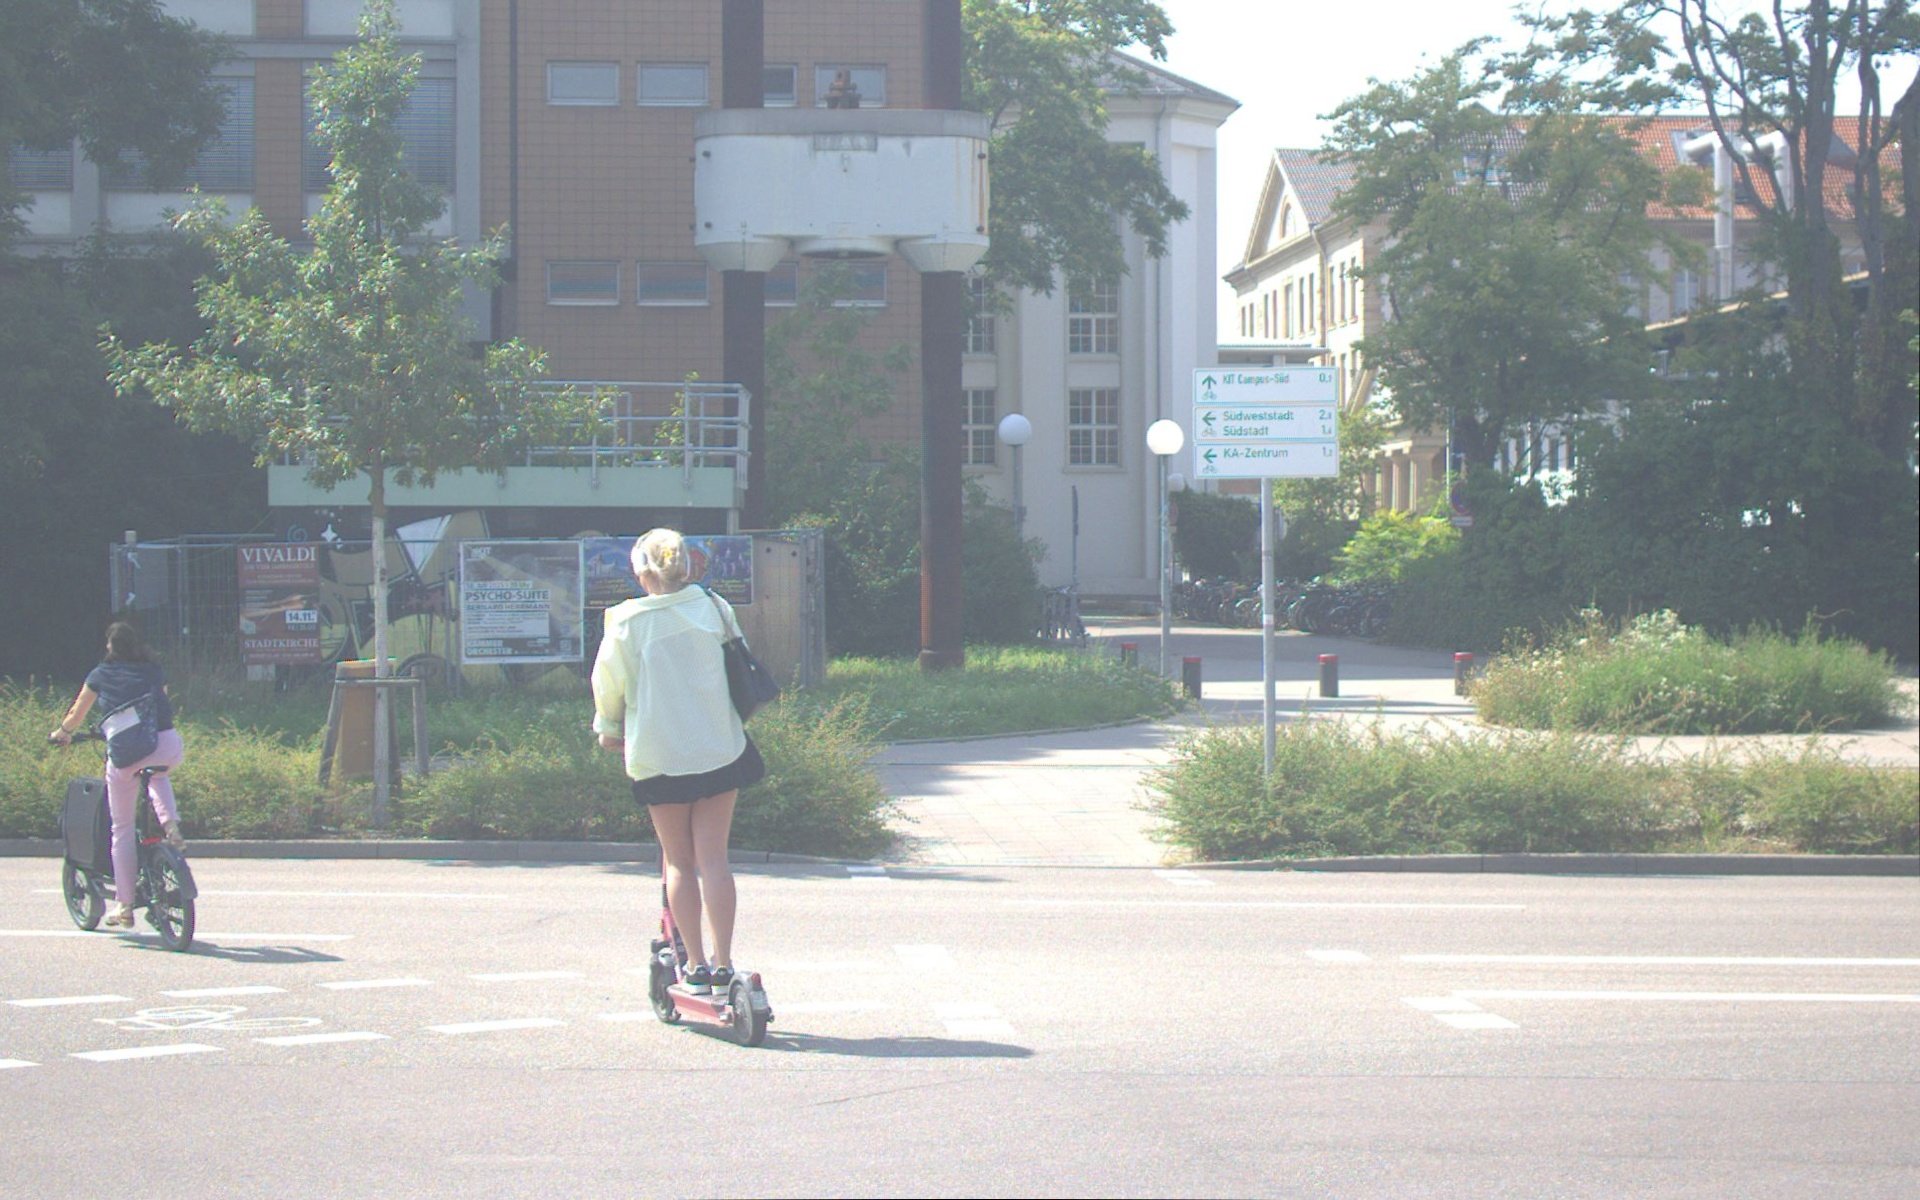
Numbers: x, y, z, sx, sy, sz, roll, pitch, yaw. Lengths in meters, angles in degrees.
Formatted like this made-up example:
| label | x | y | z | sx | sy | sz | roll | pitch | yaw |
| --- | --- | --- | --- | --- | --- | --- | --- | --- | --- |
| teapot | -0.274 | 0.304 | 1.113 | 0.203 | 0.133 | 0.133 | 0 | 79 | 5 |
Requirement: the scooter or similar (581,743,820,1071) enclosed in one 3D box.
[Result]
| label | x | y | z | sx | sy | sz | roll | pitch | yaw |
| --- | --- | --- | --- | --- | --- | --- | --- | --- | --- |
| scooter or similar | -0.996 | 1.092 | 12.772 | 0.556 | 1.056 | 2.004 | 0 | -1 | -14 |

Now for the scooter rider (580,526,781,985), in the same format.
| label | x | y | z | sx | sy | sz | roll | pitch | yaw |
| --- | --- | --- | --- | --- | --- | --- | --- | --- | --- |
| scooter rider | -1.065 | 0.573 | 13.018 | 0.670 | 1.694 | 0.539 | 0 | -1 | -14 |

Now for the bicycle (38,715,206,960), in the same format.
| label | x | y | z | sx | sy | sz | roll | pitch | yaw |
| --- | --- | --- | --- | --- | --- | --- | --- | --- | --- |
| bicycle | -4.218 | 1.153 | 17.218 | 0.556 | 1.056 | 2.004 | 0 | 1 | -21 |

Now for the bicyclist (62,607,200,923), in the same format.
| label | x | y | z | sx | sy | sz | roll | pitch | yaw |
| --- | --- | --- | --- | --- | --- | --- | --- | --- | --- |
| bicyclist | -4.059 | 0.785 | 16.816 | 0.548 | 1.491 | 0.804 | 0 | 0 | -22 |
